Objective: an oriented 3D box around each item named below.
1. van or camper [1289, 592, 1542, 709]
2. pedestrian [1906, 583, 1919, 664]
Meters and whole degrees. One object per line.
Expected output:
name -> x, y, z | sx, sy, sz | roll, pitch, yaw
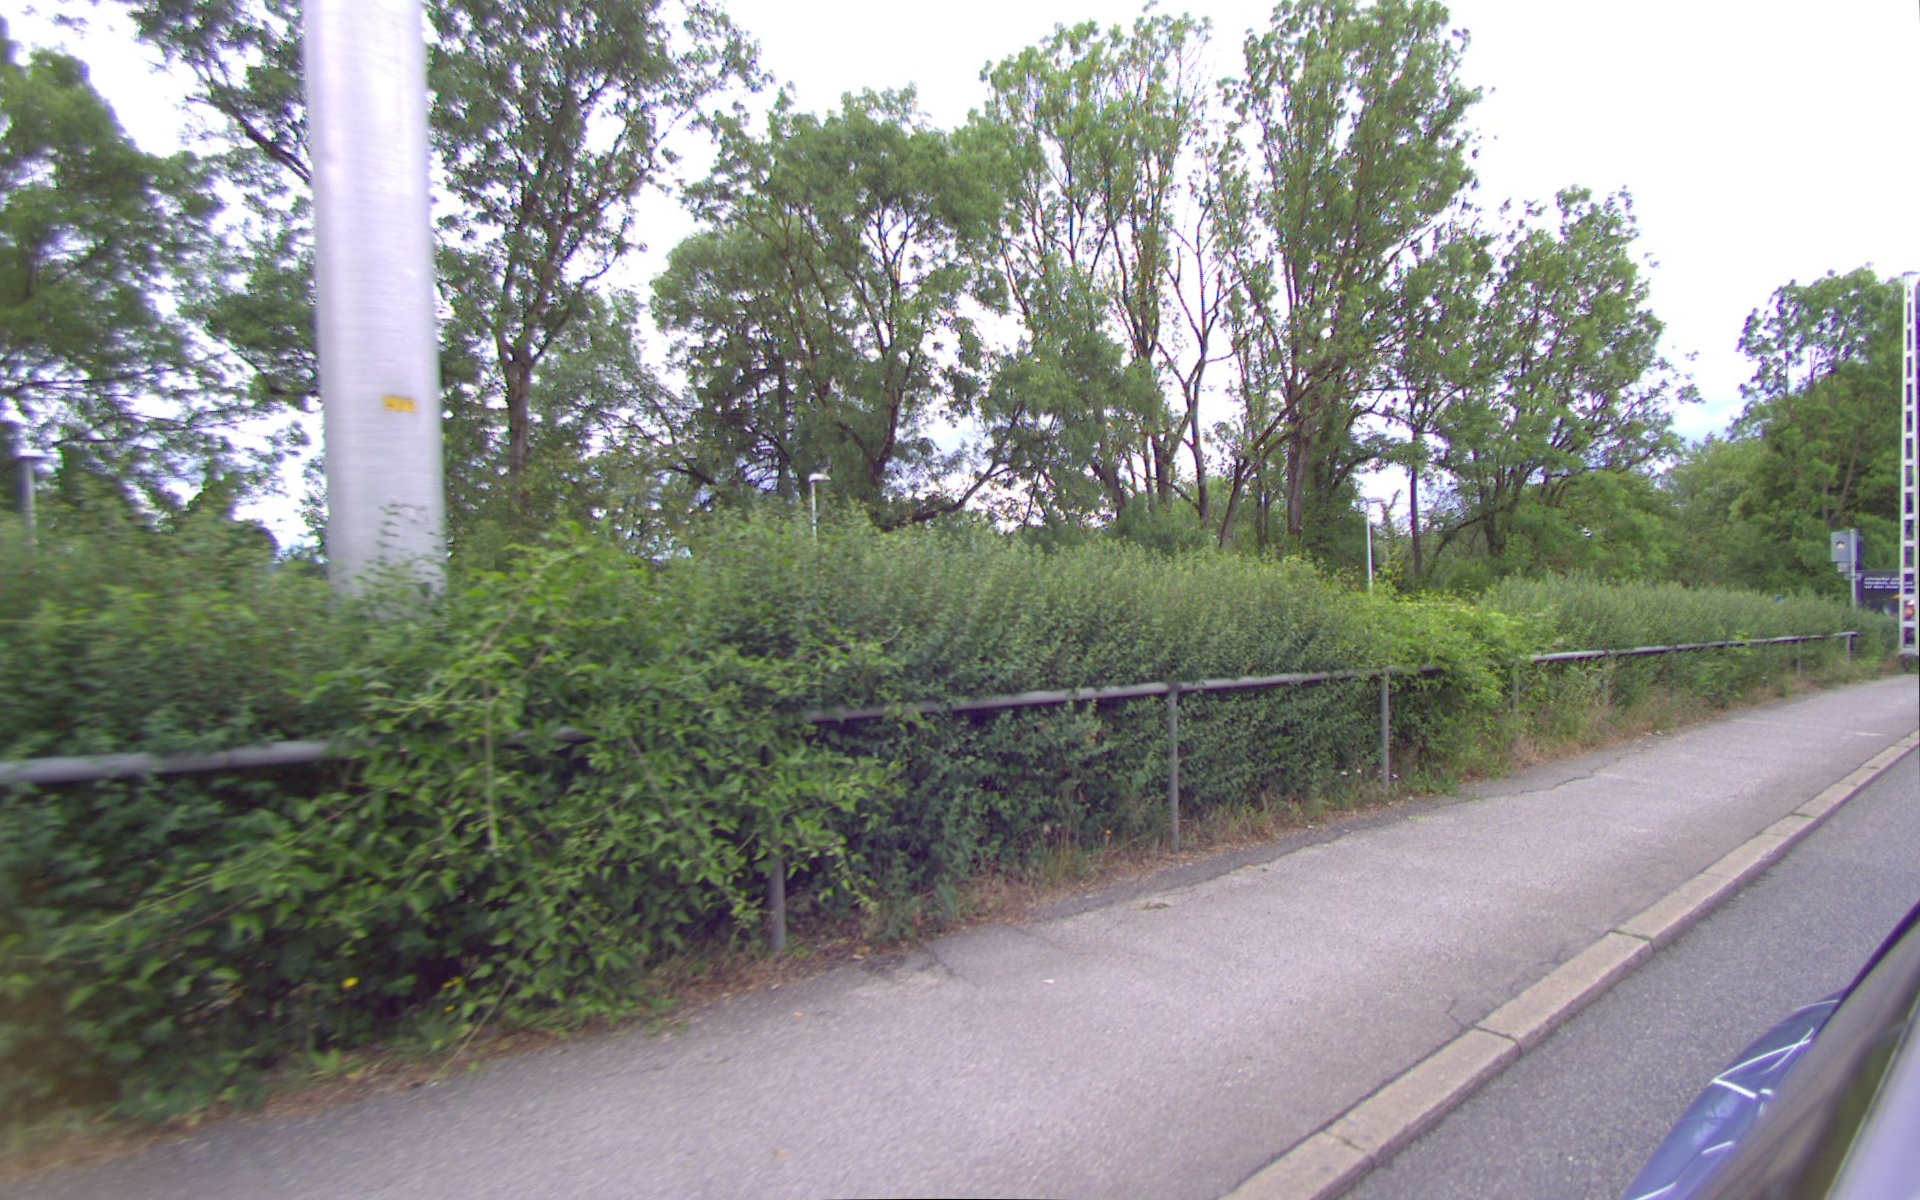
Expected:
van or camper -> 10.661, 1.087, 23.535 | 6.055, 2.359, 2.226 | 1, 1, -30
pedestrian -> 22.978, 0.568, 23.828 | 0.931, 1.908, 0.815 | 1, 1, -37
